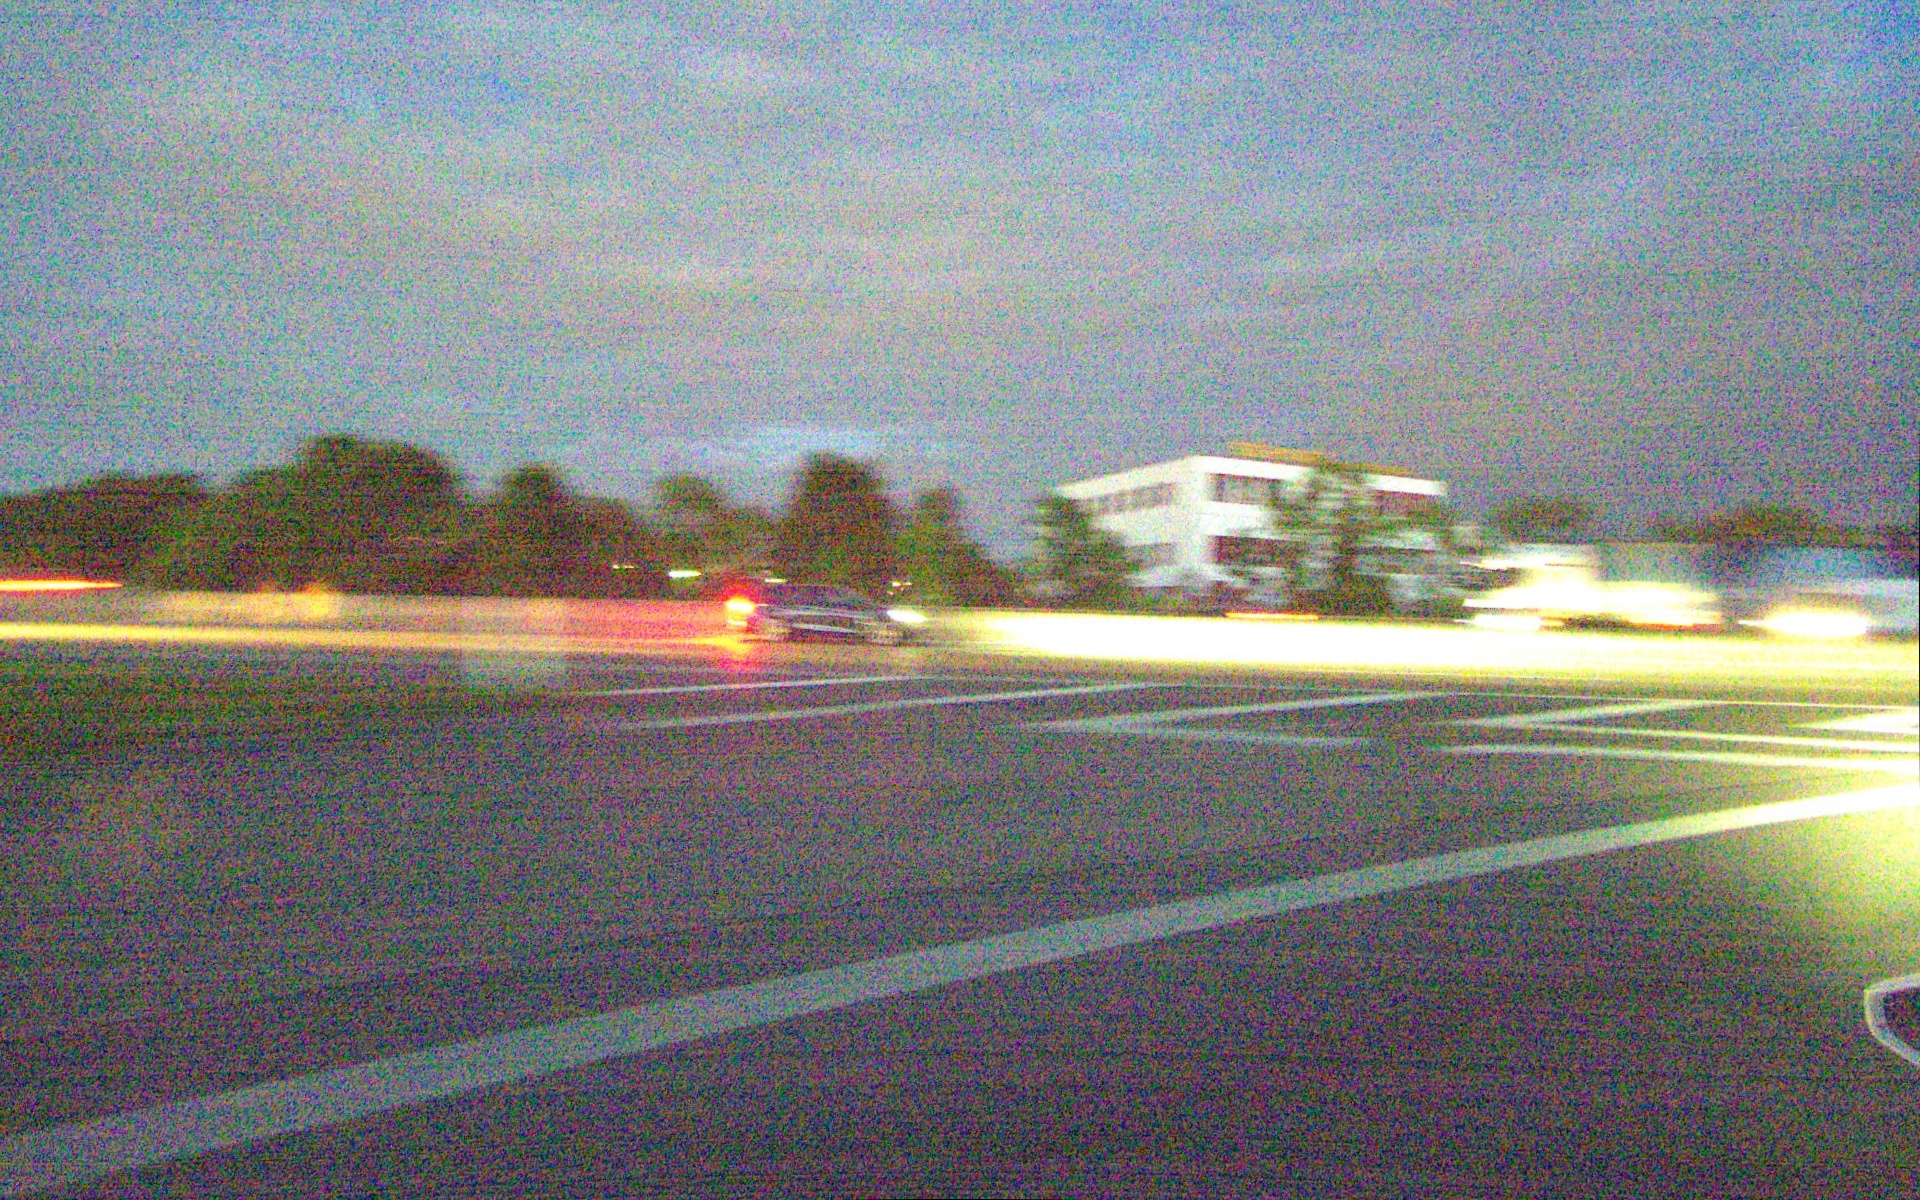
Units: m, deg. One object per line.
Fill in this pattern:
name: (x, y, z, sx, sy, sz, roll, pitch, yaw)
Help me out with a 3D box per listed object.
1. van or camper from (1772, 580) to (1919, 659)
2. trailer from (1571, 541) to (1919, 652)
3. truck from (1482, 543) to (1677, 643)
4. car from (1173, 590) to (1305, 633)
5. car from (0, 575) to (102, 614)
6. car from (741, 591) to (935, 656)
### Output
van or camper: (32.557, 0.699, 34.805, 7.040, 2.584, 2.000, 2, 1, 2)
trailer: (31.687, -0.120, 39.298, 13.483, 3.867, 2.768, 2, 1, 3)
truck: (24.354, -0.284, 39.722, 5.844, 3.643, 2.768, 2, 1, 2)
car: (9.007, 0.355, 32.662, 3.919, 1.294, 1.630, 1, 1, 6)
car: (-32.527, -0.206, 35.159, 3.640, 1.294, 1.630, 1, 1, 3)
car: (-2.910, 0.546, 24.420, 4.411, 1.419, 1.610, 1, 1, 5)
